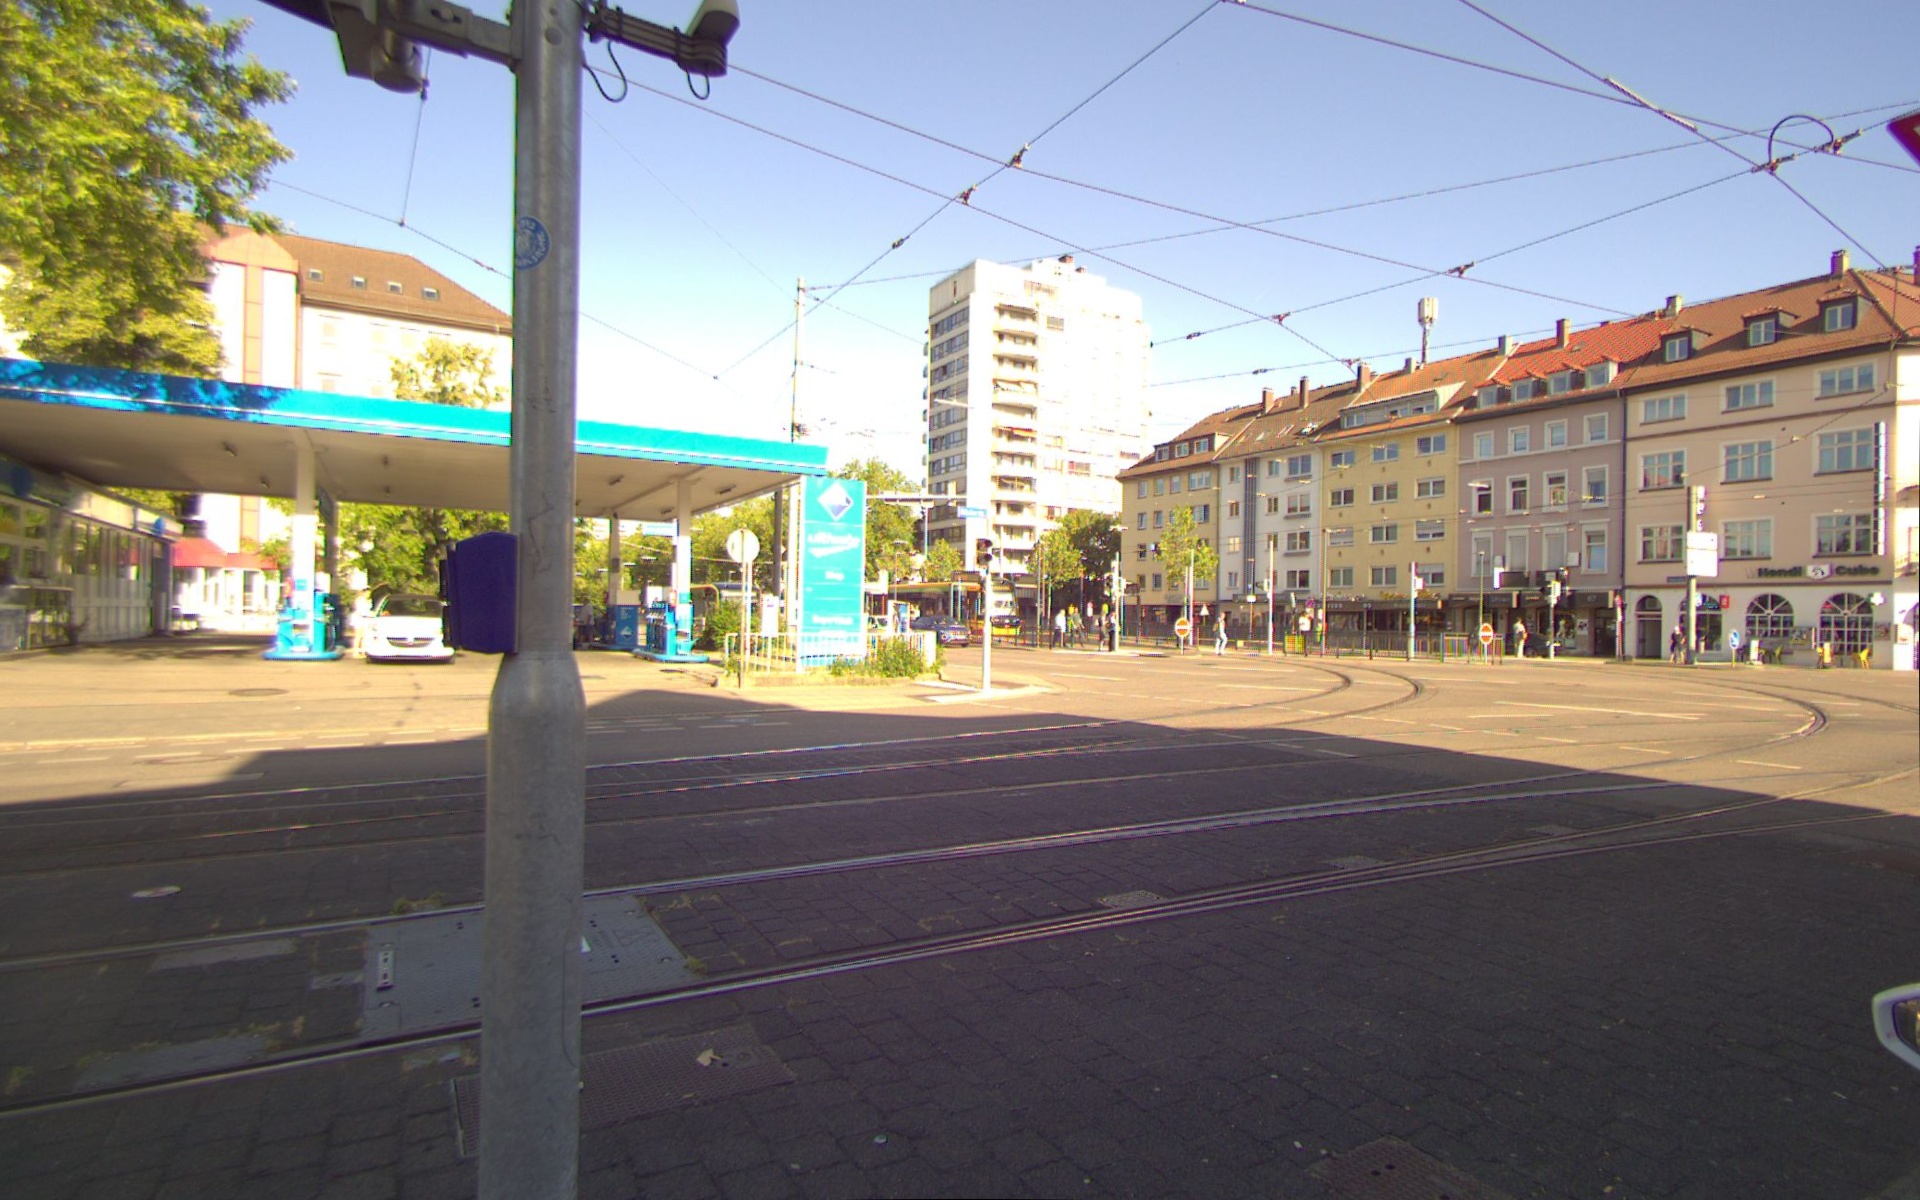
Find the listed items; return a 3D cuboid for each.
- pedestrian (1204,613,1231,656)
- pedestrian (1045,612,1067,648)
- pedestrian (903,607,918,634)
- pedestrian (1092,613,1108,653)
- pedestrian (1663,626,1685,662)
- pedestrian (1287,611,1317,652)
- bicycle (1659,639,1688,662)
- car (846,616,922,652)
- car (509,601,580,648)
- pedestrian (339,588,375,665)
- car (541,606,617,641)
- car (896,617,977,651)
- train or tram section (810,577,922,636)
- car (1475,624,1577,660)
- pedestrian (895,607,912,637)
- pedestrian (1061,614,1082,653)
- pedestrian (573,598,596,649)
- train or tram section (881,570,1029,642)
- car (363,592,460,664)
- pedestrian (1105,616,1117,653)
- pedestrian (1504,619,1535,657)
[{"bbox_3d":[9.875,1.330,38.529,0.817,1.598,0.552,2,0,-2],"label":"pedestrian"},{"bbox_3d":[4.278,1.335,44.780,0.867,1.598,0.665,2,0,-2],"label":"pedestrian"},{"bbox_3d":[-2.945,1.217,59.958,0.607,1.598,0.827,0,0,-27],"label":"pedestrian"},{"bbox_3d":[5.859,1.390,41.966,0.626,1.666,0.462,0,0,6],"label":"pedestrian"},{"bbox_3d":[34.221,2.130,48.147,0.743,1.692,0.579,2,0,-30],"label":"pedestrian"},{"bbox_3d":[13.724,1.267,40.337,0.821,1.598,0.724,2,0,-20],"label":"pedestrian"},{"bbox_3d":[34.219,2.428,48.152,1.479,1.091,0.570,2,0,-30],"label":"bicycle"},{"bbox_3d":[-3.584,1.549,46.737,1.871,1.550,3.963,1,-1,-33],"label":"car"},{"bbox_3d":[-13.544,0.782,32.676,1.737,1.461,3.543,1,-1,-29],"label":"car"},{"bbox_3d":[-13.868,0.607,23.111,0.640,1.724,0.497,1,-1,-26],"label":"pedestrian"},{"bbox_3d":[-16.858,1.038,44.600,1.722,1.461,3.572,1,-1,5],"label":"car"},{"bbox_3d":[-1.158,1.613,48.367,1.875,1.550,3.955,1,-2,-39],"label":"car"},{"bbox_3d":[-6.954,0.482,71.348,2.907,3.864,12.719,1,-1,-30],"label":"train or tram section"},{"bbox_3d":[30.828,2.287,54.847,2.277,1.734,4.350,2,0,-27],"label":"car"},{"bbox_3d":[-3.324,1.288,58.673,0.747,1.756,0.797,0,0,-28],"label":"pedestrian"},{"bbox_3d":[5.008,1.503,45.073,0.553,1.702,0.754,1,-1,-32],"label":"pedestrian"},{"bbox_3d":[-12.828,0.799,34.317,0.491,1.724,0.499,0,-1,33],"label":"pedestrian"},{"bbox_3d":[-0.650,0.378,60.146,2.906,3.864,12.952,1,-1,-29],"label":"train or tram section"},{"bbox_3d":[-12.192,0.604,22.349,1.737,1.461,3.543,1,-1,-29],"label":"car"},{"bbox_3d":[6.157,1.403,40.966,0.472,1.525,0.462,0,0,6],"label":"pedestrian"},{"bbox_3d":[24.481,1.667,43.953,0.821,1.598,0.847,2,0,-20],"label":"pedestrian"}]
